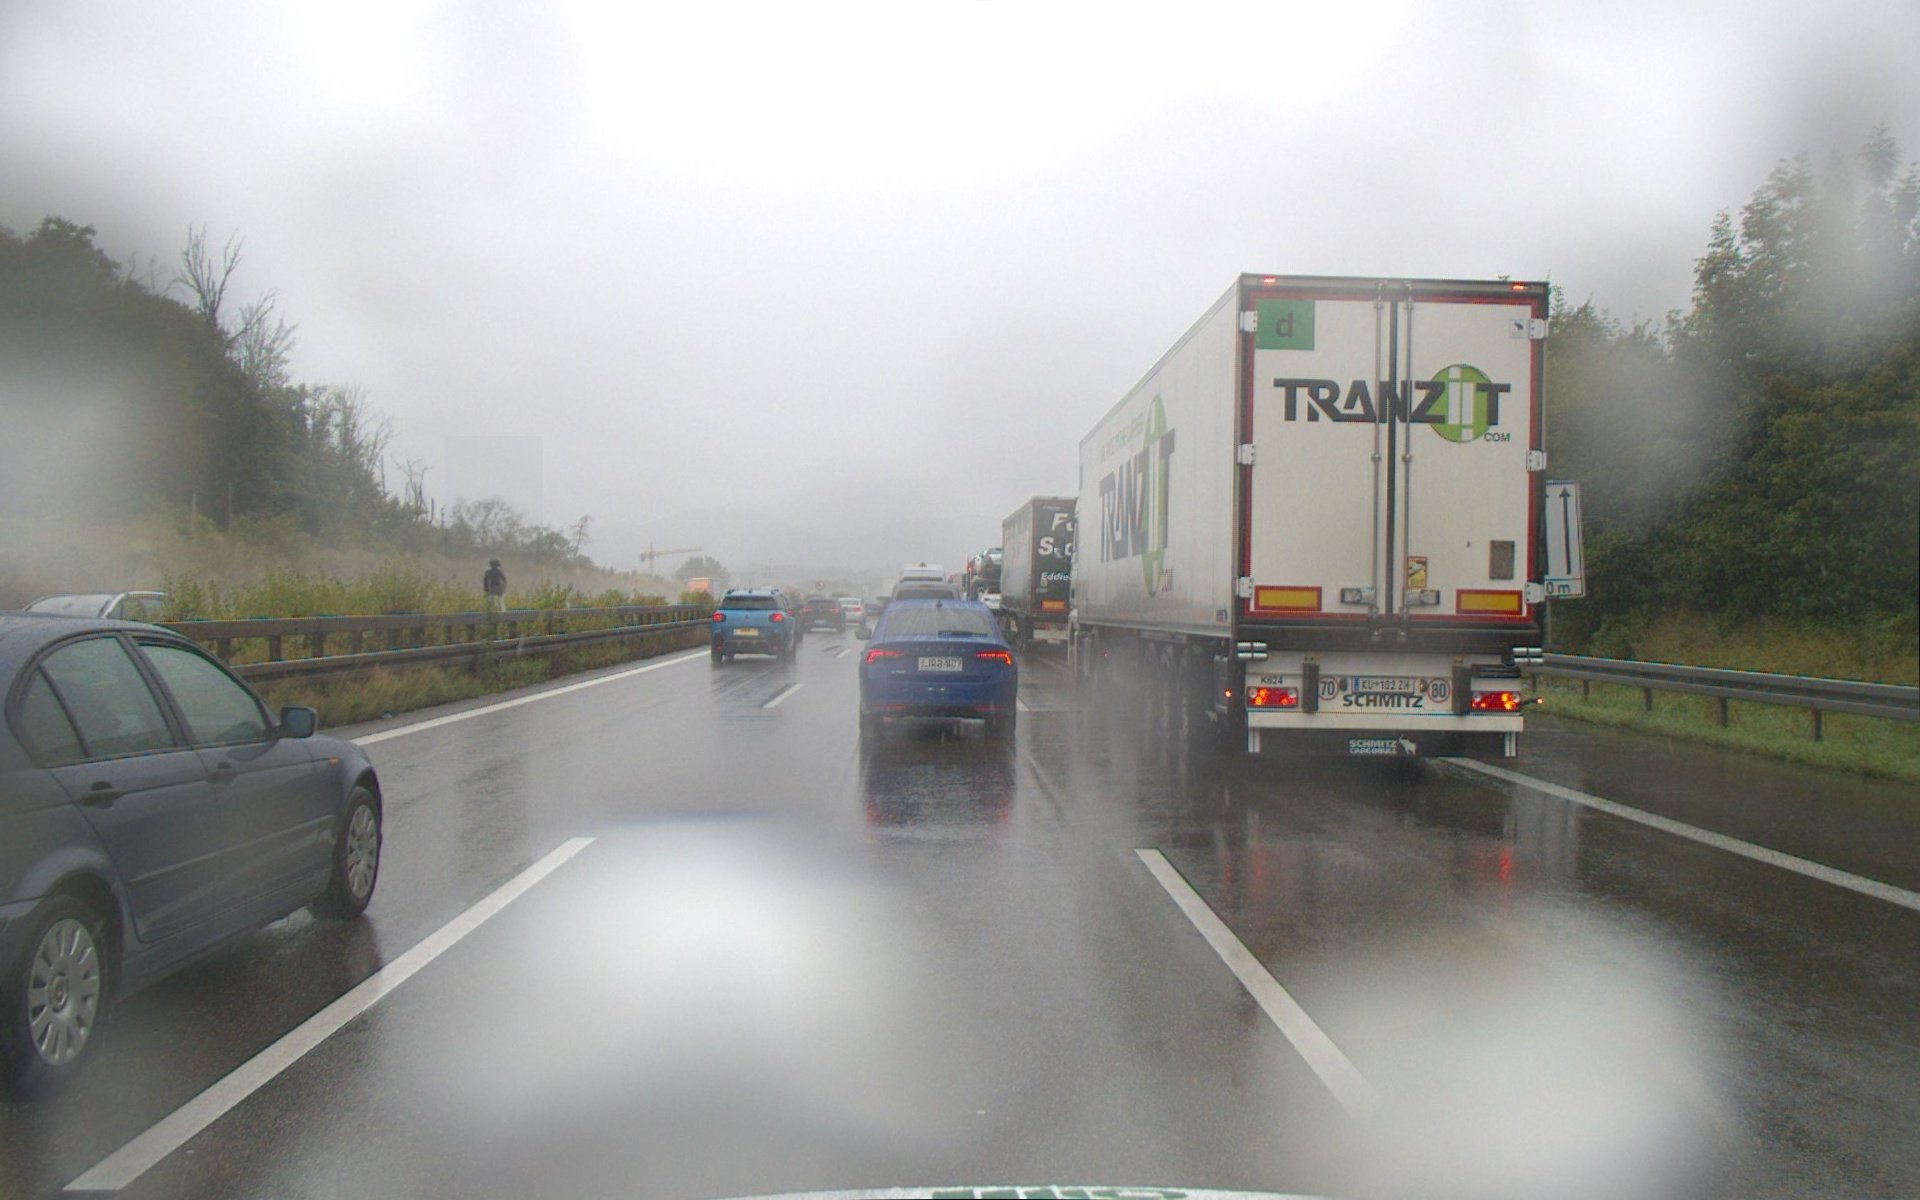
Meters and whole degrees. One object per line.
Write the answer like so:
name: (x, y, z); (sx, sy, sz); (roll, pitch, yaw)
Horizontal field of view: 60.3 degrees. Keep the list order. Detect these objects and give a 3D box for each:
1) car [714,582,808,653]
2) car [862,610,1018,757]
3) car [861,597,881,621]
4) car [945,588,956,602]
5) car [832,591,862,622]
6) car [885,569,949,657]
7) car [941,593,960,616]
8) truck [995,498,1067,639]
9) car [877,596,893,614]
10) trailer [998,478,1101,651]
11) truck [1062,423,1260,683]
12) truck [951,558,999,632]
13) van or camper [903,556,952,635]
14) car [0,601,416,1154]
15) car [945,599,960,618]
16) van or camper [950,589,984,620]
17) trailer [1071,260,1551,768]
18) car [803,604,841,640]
car: (-4.535, 0.375, 38.156); (1.686, 1.550, 4.000); (0, 0, 0)
car: (-0.218, 0.873, 19.048); (1.602, 1.470, 4.000); (0, 0, -1)
car: (-6.801, 0.685, 126.912); (1.419, 1.815, 3.408); (1, 0, -1)
car: (-1.296, -0.684, 224.304); (1.419, 1.815, 3.408); (1, 0, -1)
car: (-5.856, 0.321, 86.010); (1.410, 1.560, 3.321); (0, 0, -1)
car: (-0.912, 0.251, 35.689); (1.309, 1.811, 3.321); (0, 0, -1)
car: (-0.780, 0.332, 133.494); (1.419, 1.815, 3.408); (1, 0, -1)
truck: (2.206, -0.971, 52.239); (2.005, 4.266, 3.999); (0, 0, -1)
car: (-7.508, 0.480, 165.666); (1.419, 1.815, 3.408); (1, 0, -1)
trailer: (2.331, -0.921, 46.344); (2.005, 4.249, 11.445); (0, 0, -1)
truck: (3.183, -0.726, 27.344); (2.577, 3.894, 4.790); (0, 0, -1)
truck: (0.710, -0.281, 82.047); (1.953, 3.481, 8.028); (0, 1, -2)
van or camper: (-1.232, -0.183, 62.285); (1.761, 2.855, 4.766); (0, 0, -1)
car: (-3.420, 0.730, 5.942); (1.683, 1.424, 4.228); (0, 0, -2)
car: (-0.654, 0.738, 144.798); (1.223, 1.538, 3.107); (0, 1, -2)
van or camper: (0.369, 0.233, 91.922); (1.736, 1.653, 4.483); (0, 1, -2)
trailer: (3.331, -0.751, 20.673); (2.577, 4.083, 14.626); (0, 0, -1)
car: (-5.801, 0.918, 69.836); (1.410, 1.445, 3.321); (0, 0, -1)
